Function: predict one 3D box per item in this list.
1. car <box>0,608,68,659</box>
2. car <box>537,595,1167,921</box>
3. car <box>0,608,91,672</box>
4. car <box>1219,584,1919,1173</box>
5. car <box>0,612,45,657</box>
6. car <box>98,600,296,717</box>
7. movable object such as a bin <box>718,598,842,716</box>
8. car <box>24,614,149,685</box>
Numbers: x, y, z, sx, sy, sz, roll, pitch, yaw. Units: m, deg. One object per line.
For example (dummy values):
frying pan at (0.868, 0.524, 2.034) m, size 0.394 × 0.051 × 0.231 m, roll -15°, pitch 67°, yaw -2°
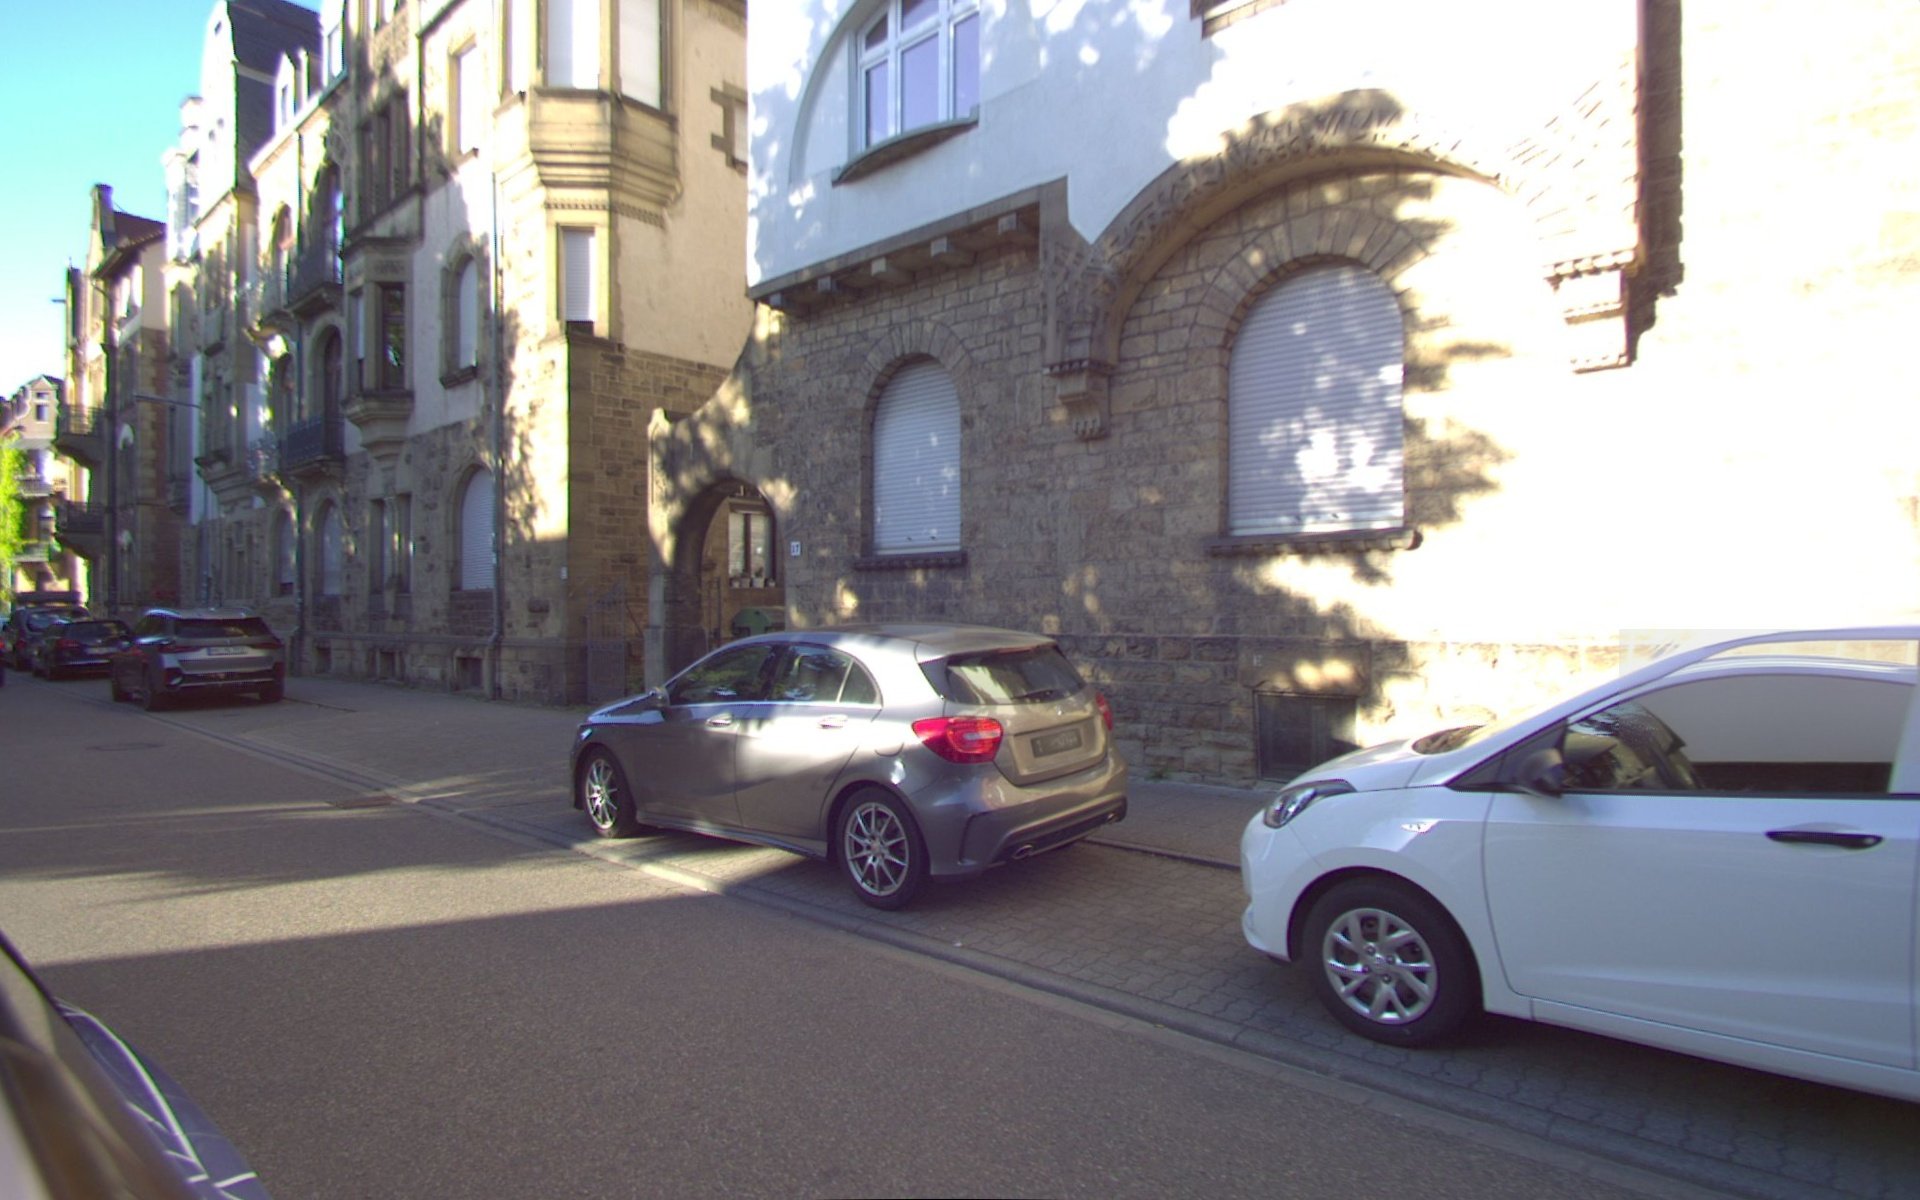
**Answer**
car at (-30.332, 1.102, 32.827) m, size 3.854 × 1.458 × 1.612 m, roll -3°, pitch 1°, yaw 42°
car at (-0.912, 0.750, 6.550) m, size 4.108 × 1.453 × 1.660 m, roll -1°, pitch 0°, yaw 40°
car at (-26.757, 1.104, 29.353) m, size 4.210 × 1.680 × 1.751 m, roll 0°, pitch 0°, yaw 41°
car at (2.836, 0.694, 3.207) m, size 3.591 × 1.481 × 1.549 m, roll -1°, pitch 0°, yaw 43°
car at (-34.855, 1.299, 37.026) m, size 3.854 × 1.516 × 1.612 m, roll -3°, pitch 1°, yaw 42°
car at (-13.114, 0.909, 17.297) m, size 4.337 × 1.730 × 1.856 m, roll -1°, pitch 0°, yaw 41°
movable object such as a bin at (-2.452, 0.730, 13.786) m, size 1.173 × 1.489 × 1.181 m, roll 0°, pitch 1°, yaw 41°
car at (-21.755, 1.159, 25.149) m, size 4.210 × 1.512 × 1.751 m, roll 1°, pitch 0°, yaw 41°
